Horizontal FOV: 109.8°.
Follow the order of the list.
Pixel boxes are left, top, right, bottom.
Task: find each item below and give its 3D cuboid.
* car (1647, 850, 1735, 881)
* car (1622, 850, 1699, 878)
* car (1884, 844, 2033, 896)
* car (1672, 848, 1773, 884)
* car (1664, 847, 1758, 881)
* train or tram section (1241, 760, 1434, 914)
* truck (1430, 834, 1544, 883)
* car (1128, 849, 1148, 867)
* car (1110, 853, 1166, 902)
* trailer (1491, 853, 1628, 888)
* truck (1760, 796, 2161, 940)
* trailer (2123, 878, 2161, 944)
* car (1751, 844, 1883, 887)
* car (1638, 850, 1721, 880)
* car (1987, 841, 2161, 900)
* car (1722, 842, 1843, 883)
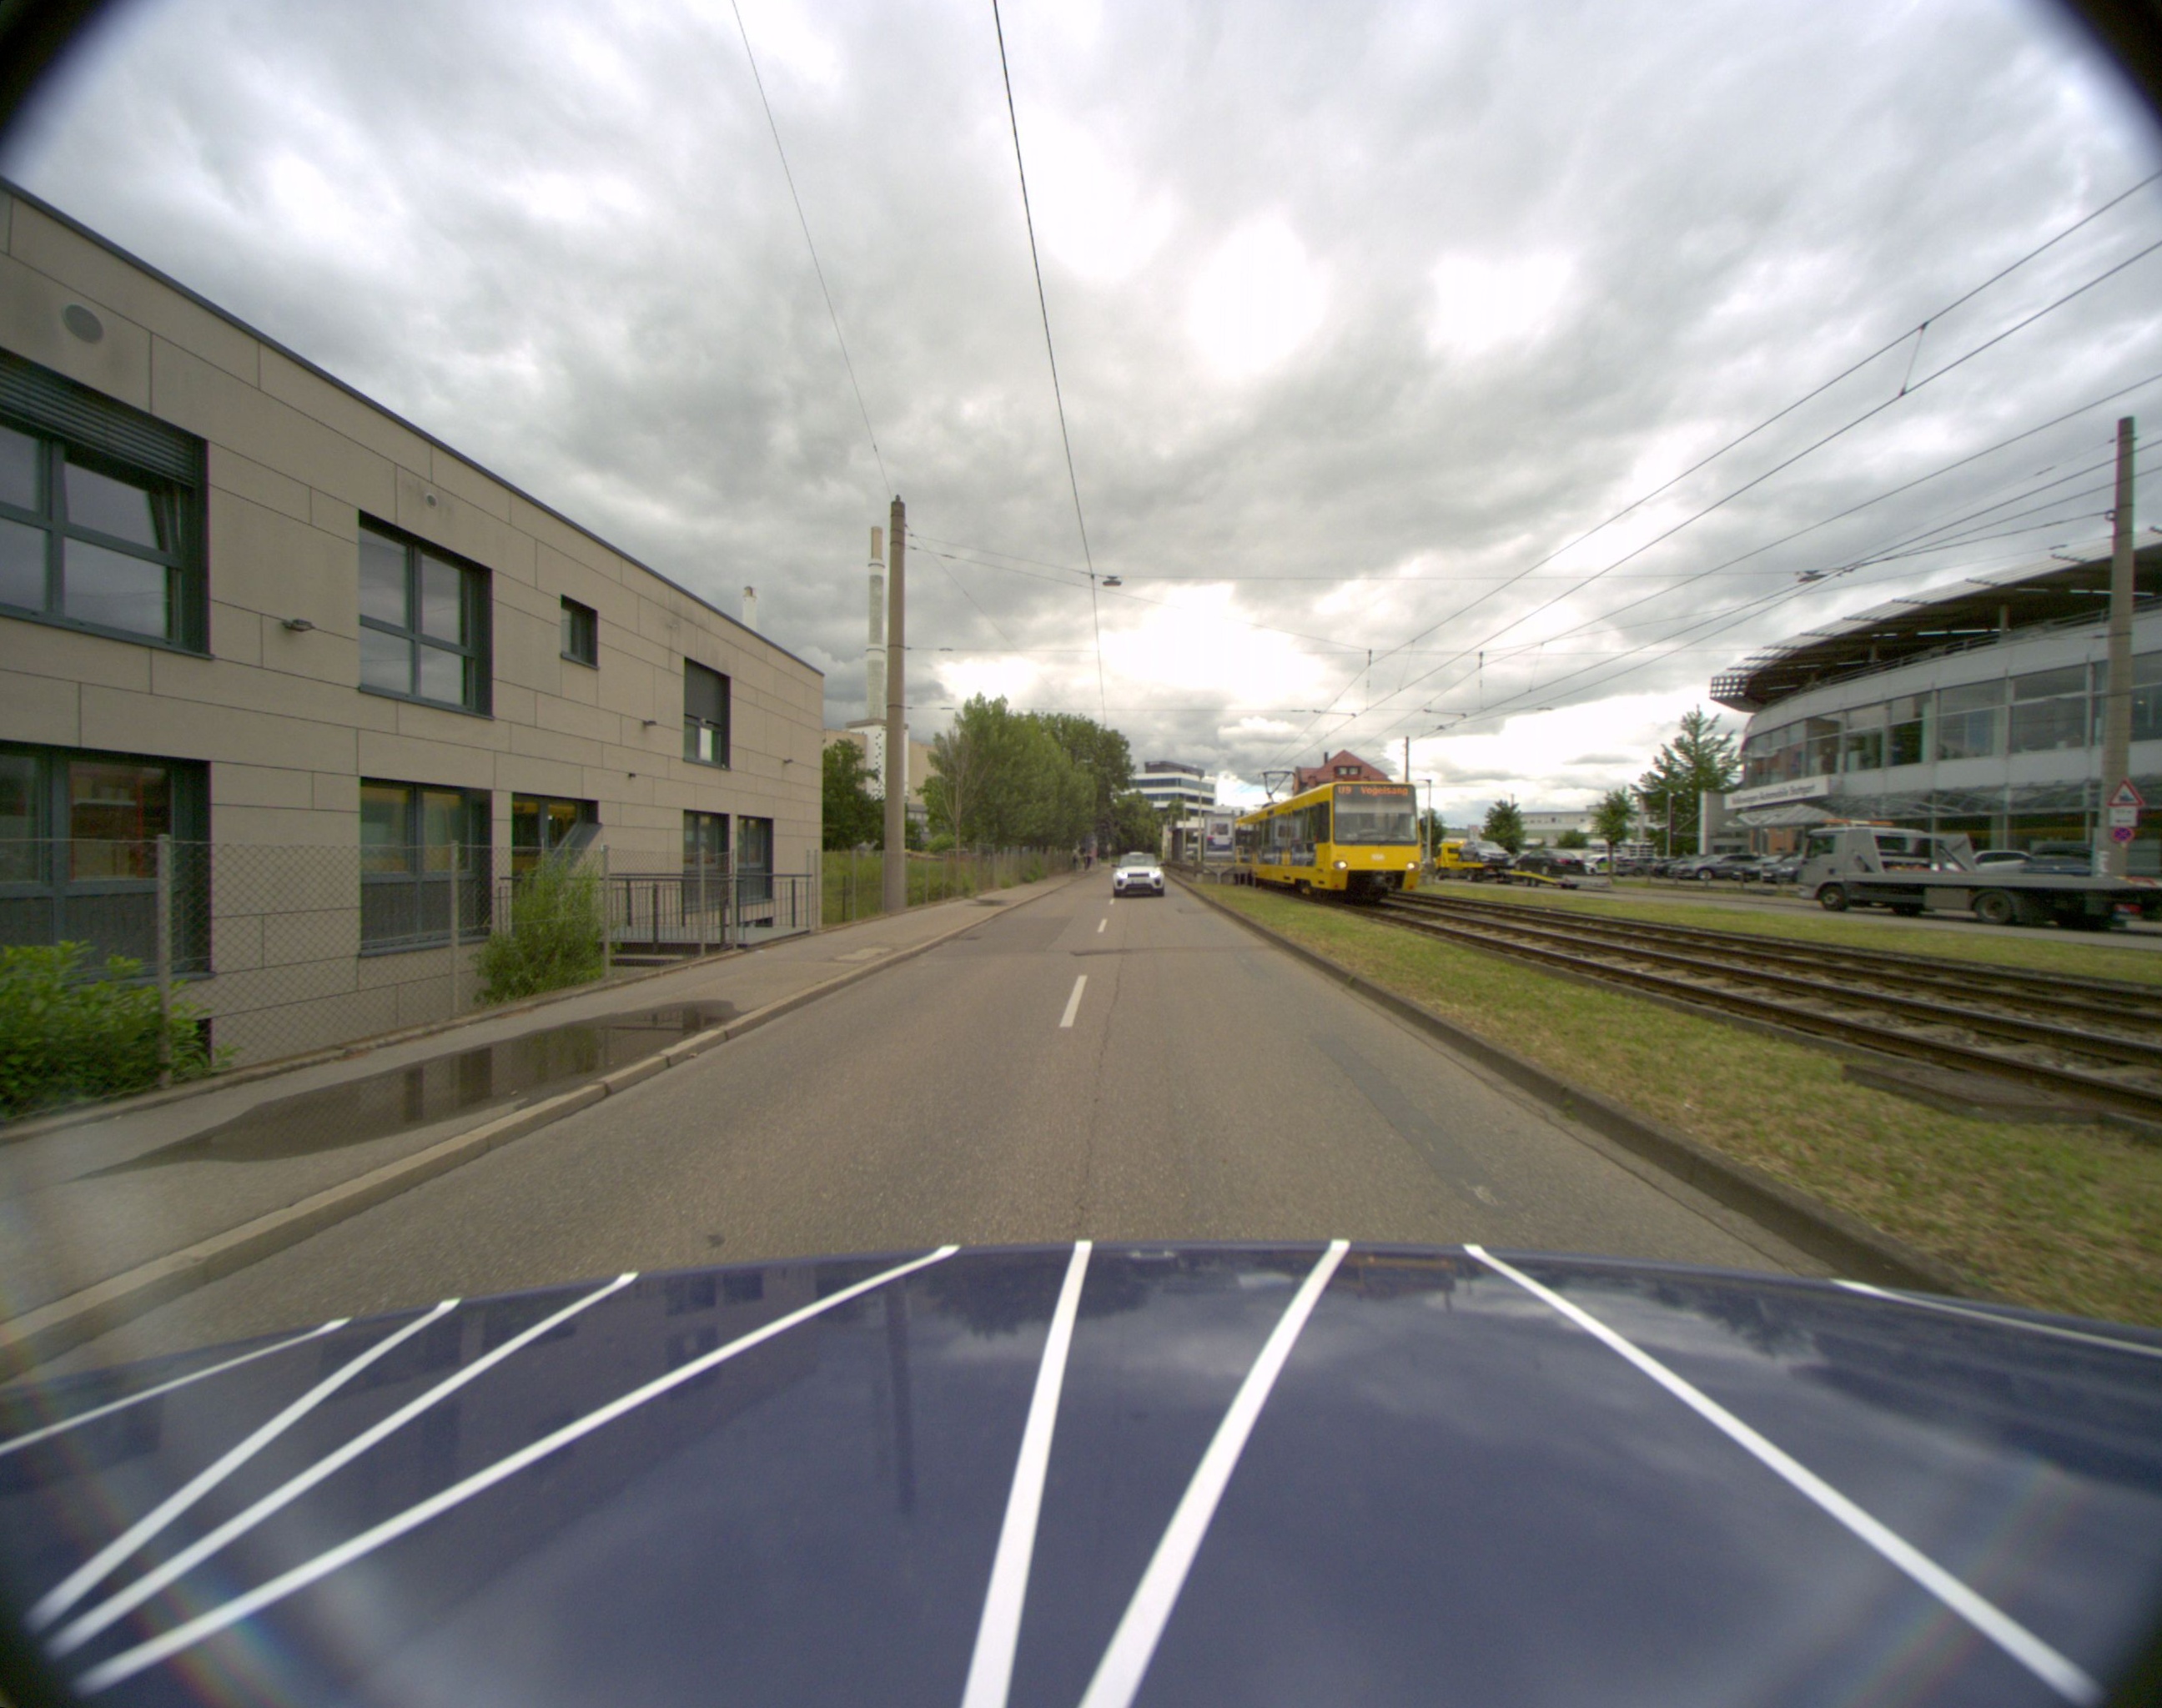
[{"bbox_3d":[38.662,0.696,48.255,3.989,1.936,2.004,0,1,26],"label":"car"},{"bbox_3d":[40.973,0.679,53.841,3.989,1.936,2.004,0,1,26],"label":"car"},{"bbox_3d":[34.468,0.615,29.906,4.000,1.936,1.998,0,1,-9],"label":"car"},{"bbox_3d":[36.455,0.659,43.290,3.989,1.936,2.004,0,1,25],"label":"car"},{"bbox_3d":[37.736,0.555,45.636,3.989,1.936,2.004,0,1,26],"label":"car"},{"bbox_3d":[8.504,-0.545,28.445,3.395,3.984,16.951,-1,1,7],"label":"train or tram section"},{"bbox_3d":[25.437,0.251,48.268,3.056,2.843,9.070,0,0,5],"label":"truck"},{"bbox_3d":[6.227,0.390,83.140,1.998,1.882,4.627,0,0,2],"label":"car"},{"bbox_3d":[2.205,0.855,29.333,1.998,1.718,4.001,-1,0,5],"label":"car"},{"bbox_3d":[24.834,0.782,39.960,2.984,1.678,7.571,0,0,5],"label":"trailer"},{"bbox_3d":[23.151,0.328,19.848,3.114,2.905,8.964,2,0,4],"label":"truck"},{"bbox_3d":[22.530,1.202,11.889,3.055,1.270,7.008,2,0,4],"label":"trailer"},{"bbox_3d":[34.514,0.510,35.771,3.992,1.936,2.002,0,1,16],"label":"car"},{"bbox_3d":[39.846,0.694,50.726,3.989,1.936,2.004,0,1,26],"label":"car"},{"bbox_3d":[34.493,0.553,26.433,4.000,1.936,1.998,0,1,-9],"label":"car"},{"bbox_3d":[35.267,0.403,38.339,3.992,1.936,2.002,0,1,16],"label":"car"}]
